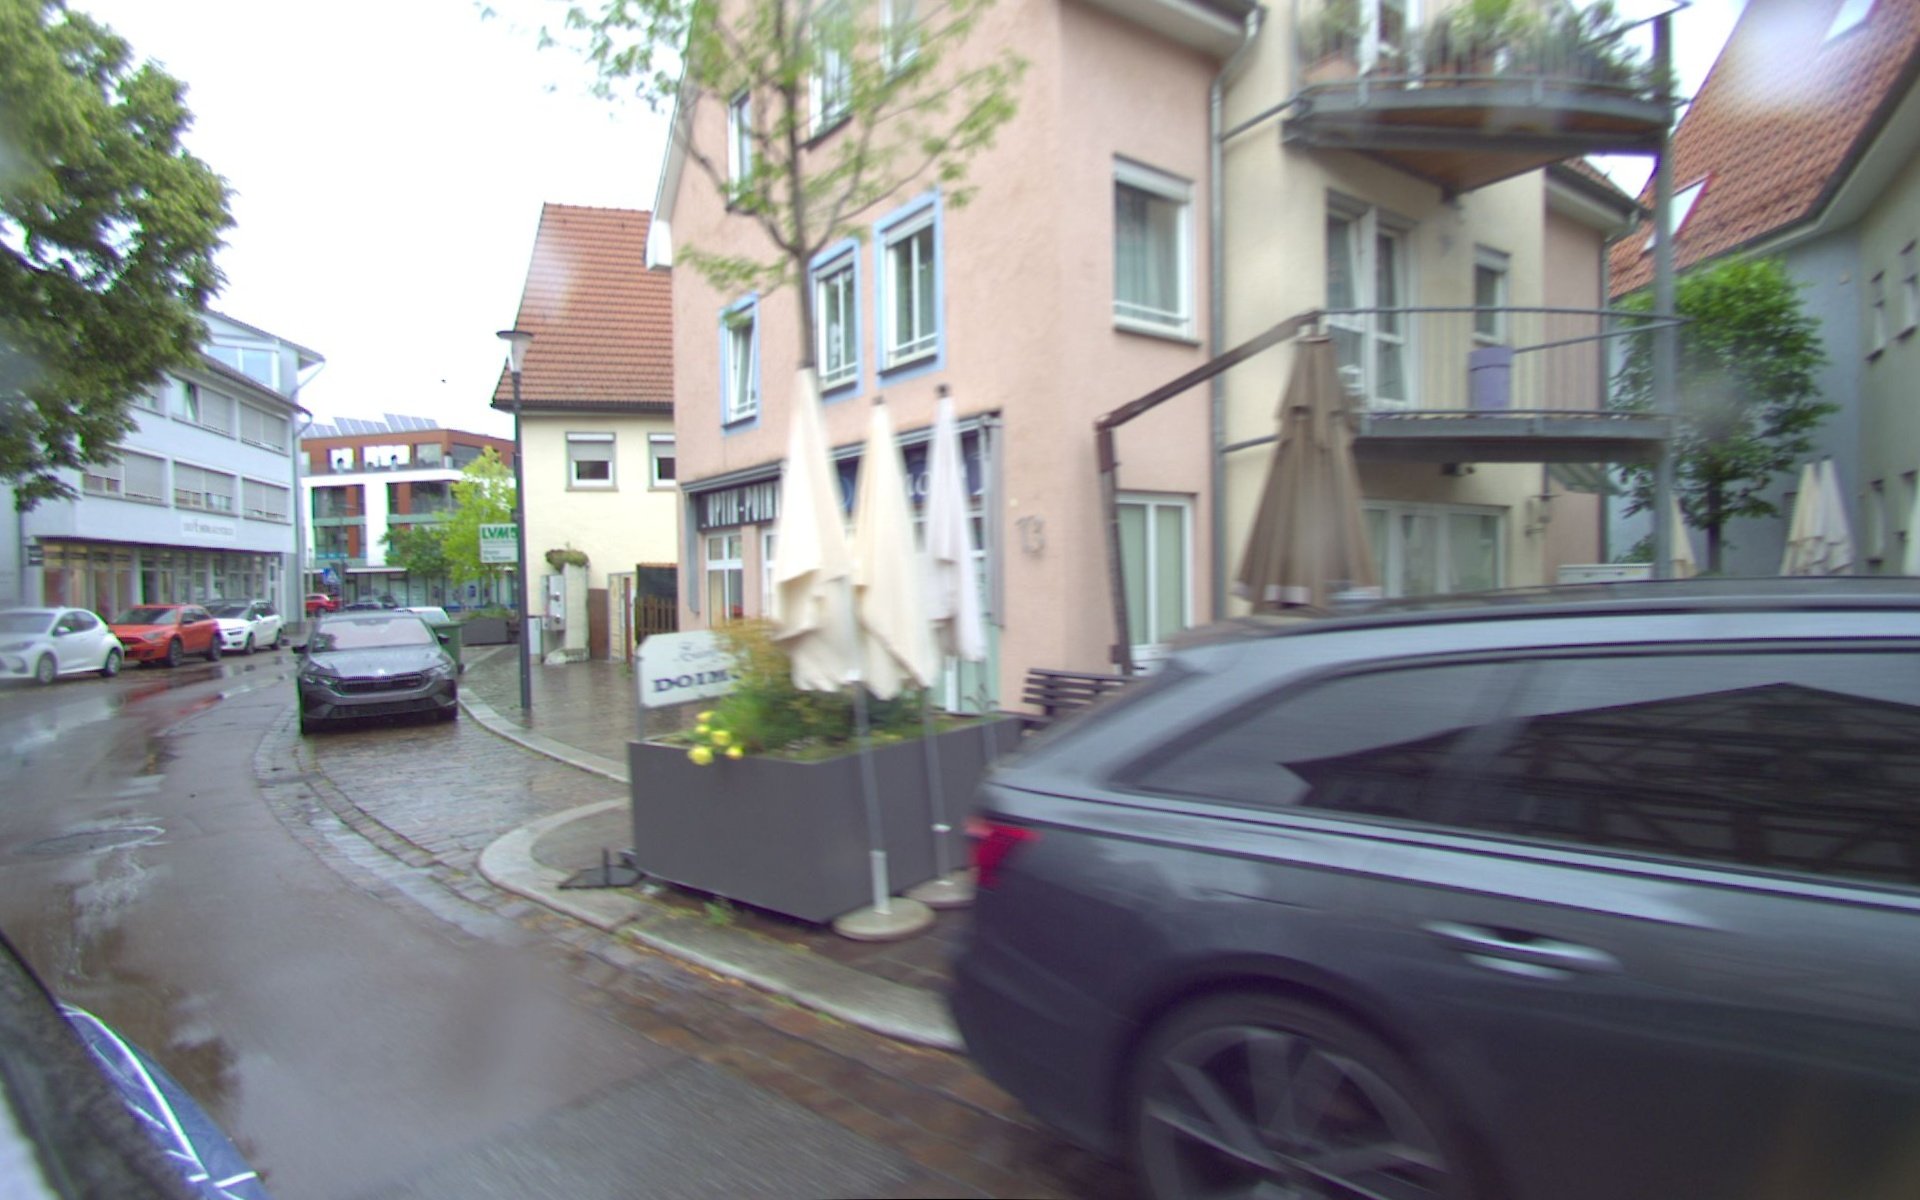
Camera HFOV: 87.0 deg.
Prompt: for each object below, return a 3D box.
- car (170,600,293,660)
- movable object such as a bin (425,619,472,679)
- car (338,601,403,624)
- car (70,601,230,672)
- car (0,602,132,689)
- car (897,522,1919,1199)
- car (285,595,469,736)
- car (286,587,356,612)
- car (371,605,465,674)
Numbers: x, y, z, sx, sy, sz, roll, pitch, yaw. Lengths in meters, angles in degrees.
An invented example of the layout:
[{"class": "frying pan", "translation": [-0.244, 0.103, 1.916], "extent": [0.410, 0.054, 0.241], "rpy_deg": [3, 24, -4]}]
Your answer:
[{"class": "car", "translation": [-22.089, 0.841, 30.870], "extent": [1.762, 1.611, 4.454], "rpy_deg": [-1, 1, -18]}, {"class": "movable object such as a bin", "translation": [-10.420, 0.984, 20.640], "extent": [0.690, 1.130, 0.721], "rpy_deg": [-4, 3, -20]}, {"class": "car", "translation": [-38.463, 0.810, 66.079], "extent": [3.553, 1.446, 1.672], "rpy_deg": [0, 2, 16]}, {"class": "car", "translation": [-20.251, 0.852, 25.507], "extent": [1.763, 1.479, 3.962], "rpy_deg": [-1, 2, -17]}, {"class": "car", "translation": [-18.530, 0.835, 20.235], "extent": [1.762, 1.567, 3.962], "rpy_deg": [0, 0, -18]}, {"class": "car", "translation": [2.280, 0.582, 1.864], "extent": [4.607, 1.453, 1.846], "rpy_deg": [-2, 0, 34]}, {"class": "car", "translation": [-8.039, 0.782, 13.841], "extent": [1.850, 1.552, 4.412], "rpy_deg": [-2, 0, -33]}, {"class": "car", "translation": [-42.766, -0.045, 67.735], "extent": [3.886, 1.566, 1.794], "rpy_deg": [0, 2, 16]}, {"class": "car", "translation": [-13.019, 0.919, 24.404], "extent": [1.823, 1.463, 4.085], "rpy_deg": [-2, -1, -27]}]
